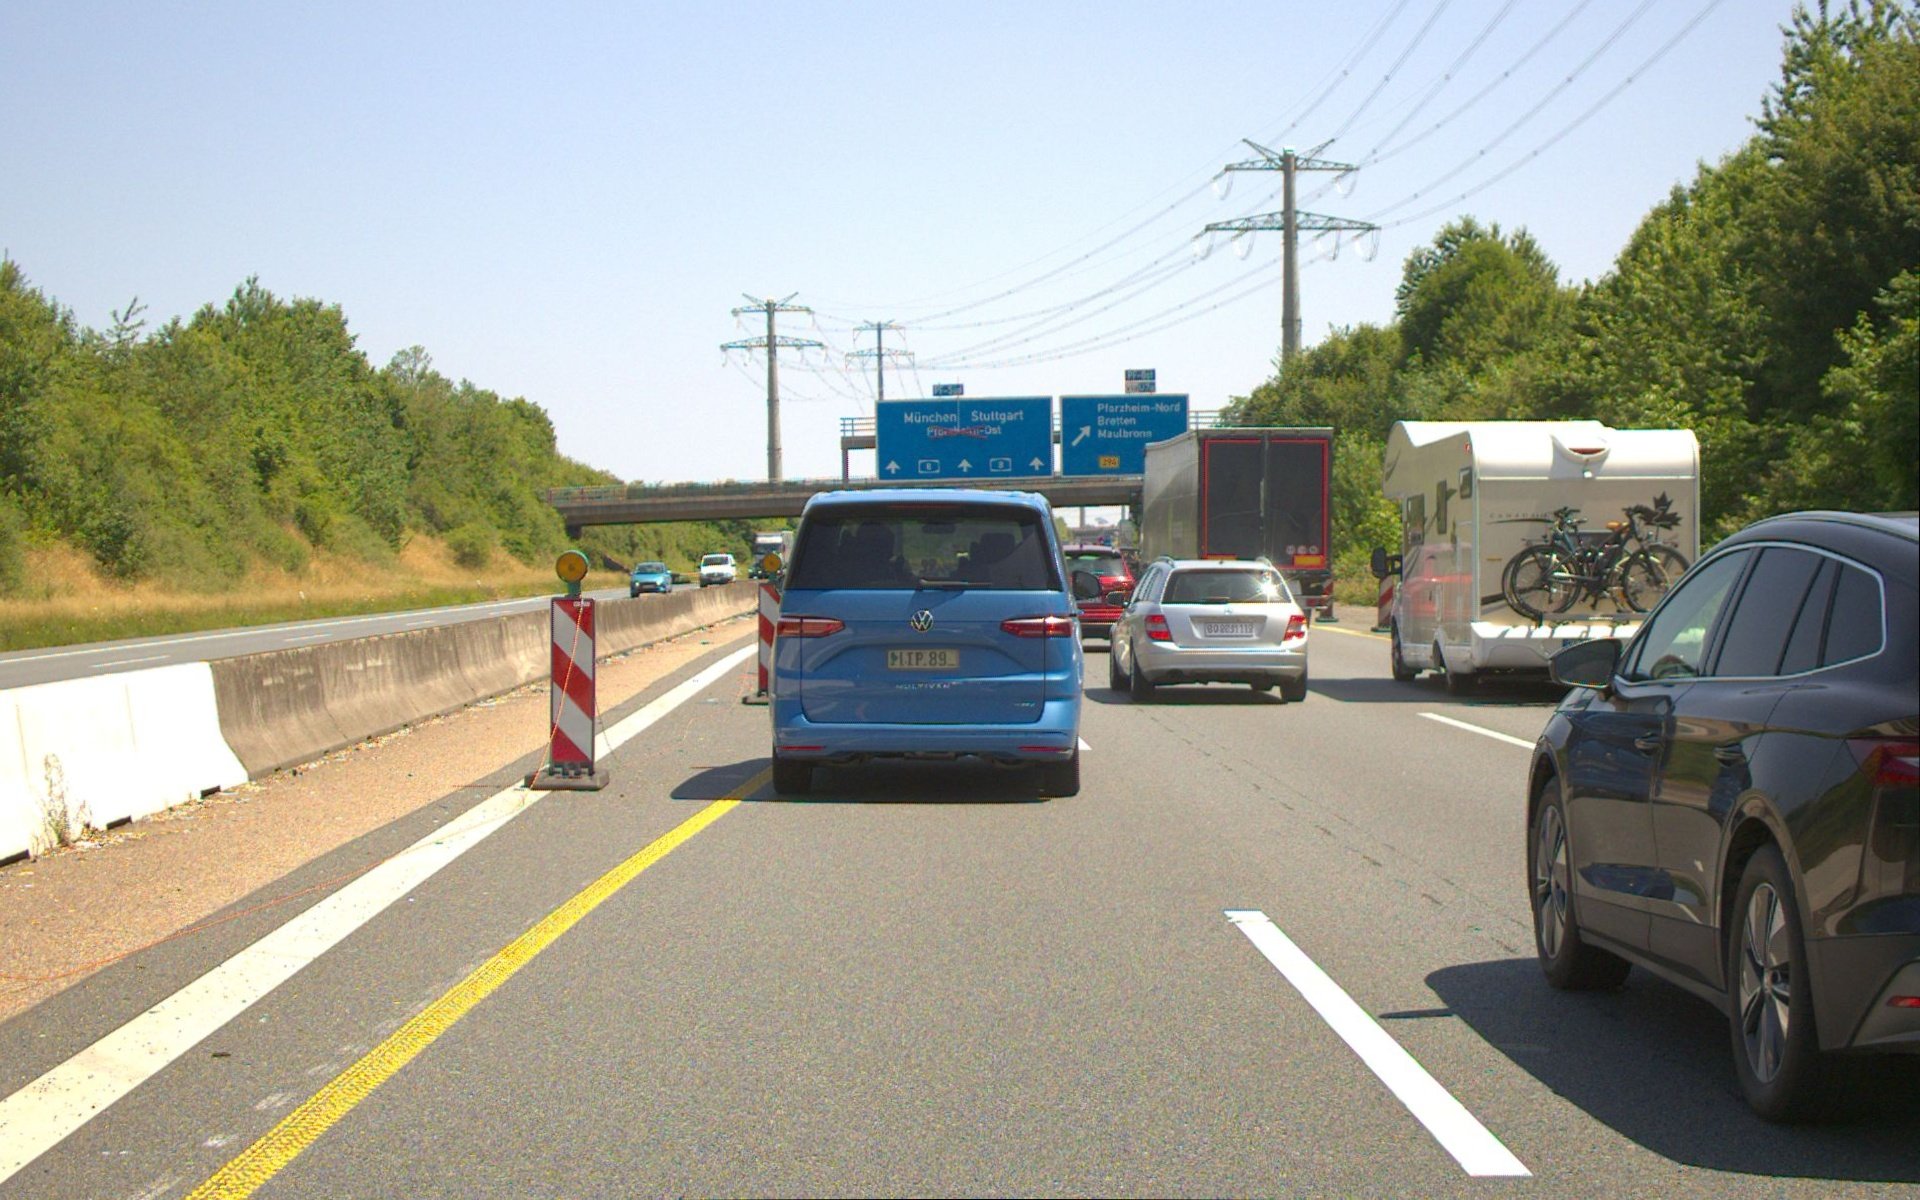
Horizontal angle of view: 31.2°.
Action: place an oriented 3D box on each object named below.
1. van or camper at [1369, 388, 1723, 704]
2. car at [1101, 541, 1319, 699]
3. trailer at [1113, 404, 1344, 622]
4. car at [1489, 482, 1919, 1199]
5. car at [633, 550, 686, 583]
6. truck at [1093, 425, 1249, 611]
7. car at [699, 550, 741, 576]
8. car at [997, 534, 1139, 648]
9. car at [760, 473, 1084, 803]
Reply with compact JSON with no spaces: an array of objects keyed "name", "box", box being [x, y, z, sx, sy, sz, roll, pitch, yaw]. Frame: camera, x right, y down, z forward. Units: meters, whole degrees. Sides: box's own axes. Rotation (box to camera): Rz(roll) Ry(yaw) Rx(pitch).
[{"name":"van or camper","box":[6.139,-0.571,37.193,2.369,3.033,7.633,1,1,-1]},{"name":"car","box":[2.533,0.167,35.724,1.770,1.512,4.360,1,1,-2]},{"name":"trailer","box":[5.323,-1.717,70.917,2.783,4.033,13.114,1,1,-4]},{"name":"car","box":[2.844,0.536,10.130,1.700,1.649,4.430,1,1,-2]},{"name":"car","box":[-13.564,-1.539,155.351,1.993,1.393,4.000,-2,1,1]},{"name":"truck","box":[4.750,-1.847,78.377,2.732,4.033,5.794,1,1,-4]},{"name":"car","box":[-13.689,-2.104,196.189,1.993,1.393,4.000,-2,1,1]},{"name":"car","box":[1.628,-0.167,53.235,1.874,1.665,4.360,1,1,-2]},{"name":"car","box":[-0.302,0.195,22.356,1.874,1.905,4.360,1,1,-2]}]
